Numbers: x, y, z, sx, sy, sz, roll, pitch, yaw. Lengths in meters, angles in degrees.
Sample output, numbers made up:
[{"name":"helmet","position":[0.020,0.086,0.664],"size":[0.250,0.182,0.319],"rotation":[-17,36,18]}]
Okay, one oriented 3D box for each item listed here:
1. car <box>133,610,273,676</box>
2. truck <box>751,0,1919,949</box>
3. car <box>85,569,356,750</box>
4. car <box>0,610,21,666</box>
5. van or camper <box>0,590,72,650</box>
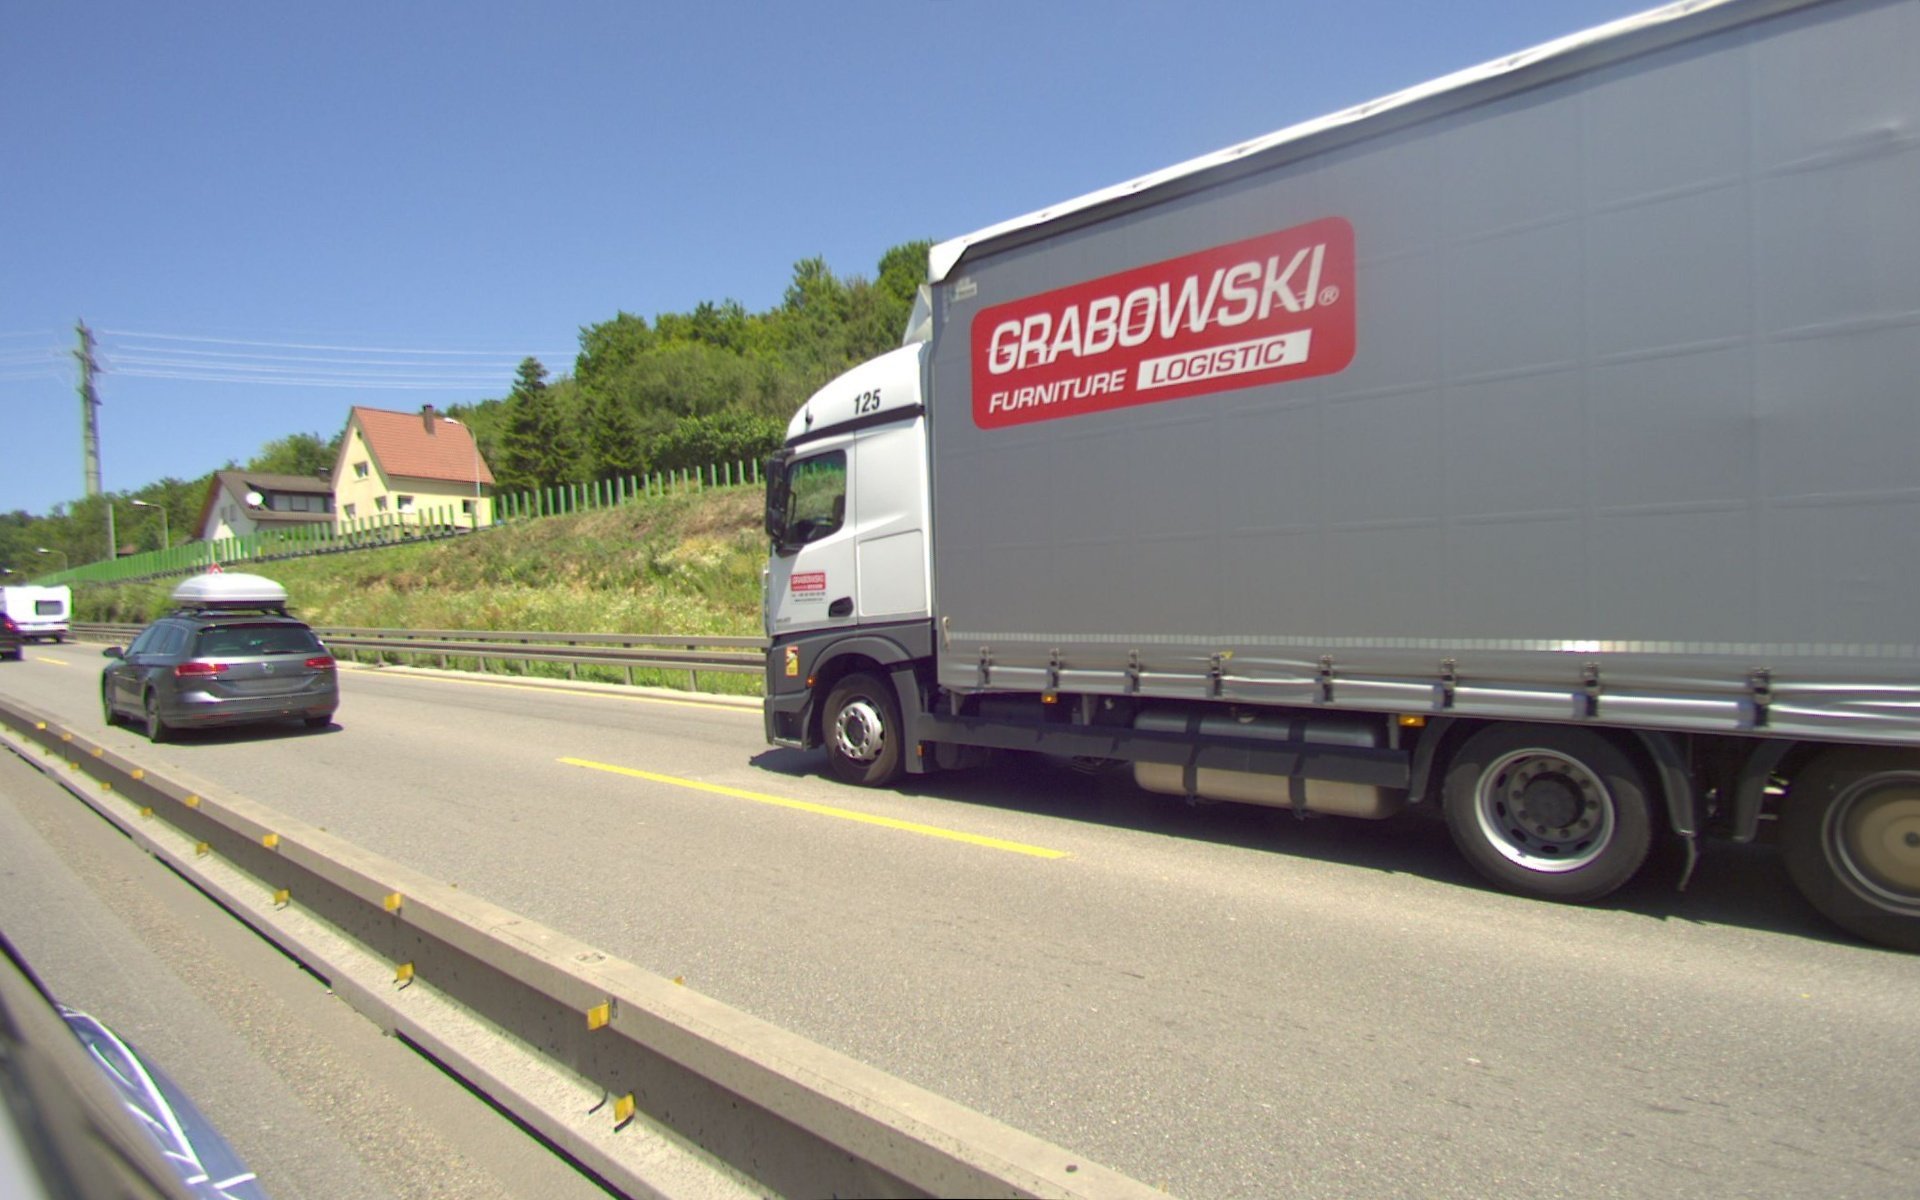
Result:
[{"name":"car","position":[-20.033,1.045,26.683],"size":[5.299,1.519,1.972],"rotation":[0,0,42]},{"name":"truck","position":[2.989,-0.863,6.195],"size":[10.380,4.430,2.593],"rotation":[-1,0,41]},{"name":"car","position":[-9.468,0.660,12.805],"size":[4.499,1.904,1.830],"rotation":[-2,0,41]},{"name":"car","position":[-31.040,1.185,31.821],"size":[3.999,1.696,1.850],"rotation":[-1,-1,42]},{"name":"van or camper","position":[-44.048,0.894,47.791],"size":[6.900,2.653,2.325],"rotation":[0,0,42]}]
